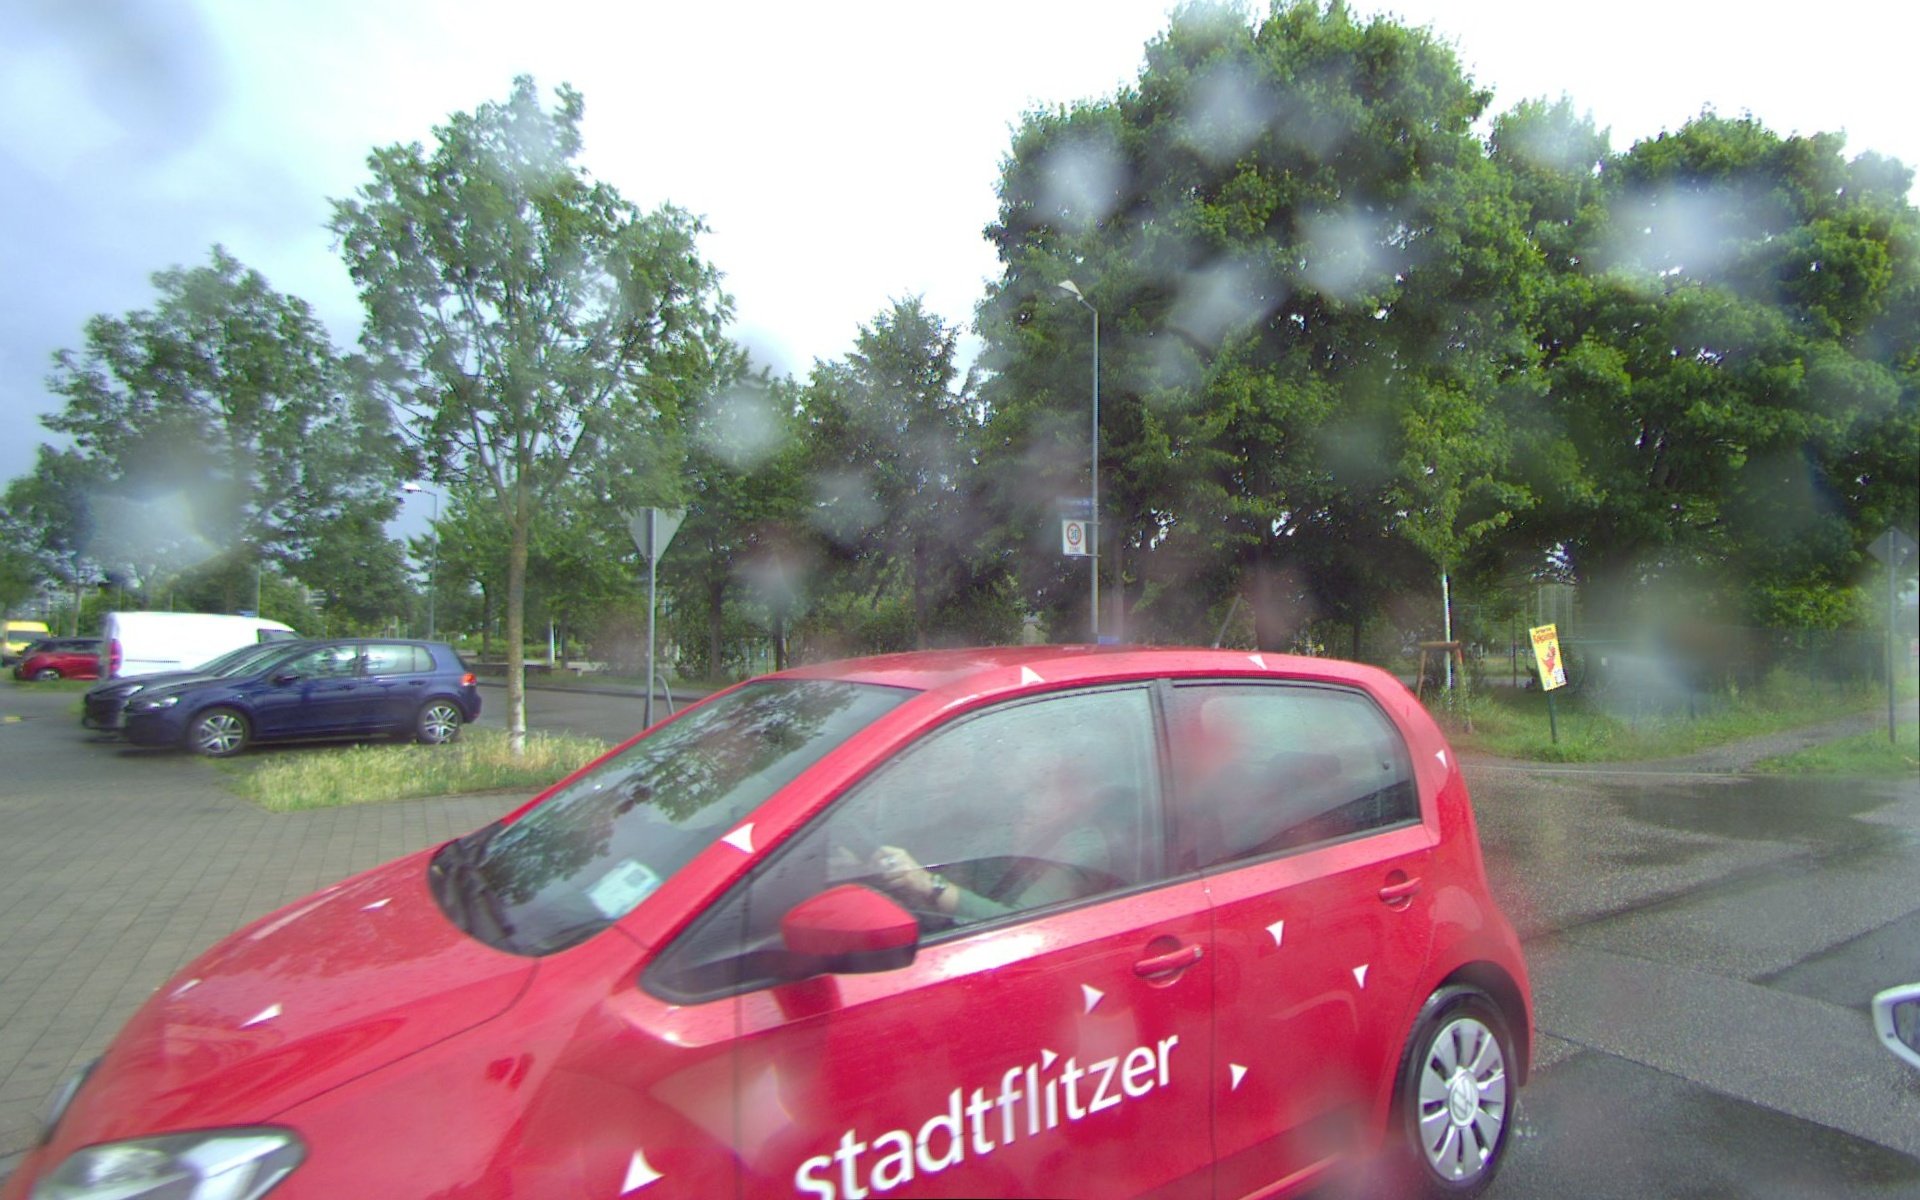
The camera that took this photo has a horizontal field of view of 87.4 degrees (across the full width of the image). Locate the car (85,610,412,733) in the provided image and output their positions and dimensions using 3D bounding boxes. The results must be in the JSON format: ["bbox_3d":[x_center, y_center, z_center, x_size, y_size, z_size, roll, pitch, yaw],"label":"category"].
[{"bbox_3d":[-12.163,1.191,17.429,1.620,1.859,4.328,0,-2,42],"label":"car"}]

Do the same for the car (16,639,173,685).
[{"bbox_3d":[-31.509,2.239,36.663,1.620,1.555,4.163,-3,-4,41],"label":"car"}]

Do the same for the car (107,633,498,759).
[{"bbox_3d":[-8.788,1.230,13.727,1.620,1.414,4.167,0,-2,42],"label":"car"}]

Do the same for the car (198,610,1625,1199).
[{"bbox_3d":[0.102,0.829,2.761,3.352,1.487,1.648,2,-3,-32],"label":"car"}]

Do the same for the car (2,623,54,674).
[{"bbox_3d":[-52.987,2.701,57.186,1.953,2.648,6.558,3,-2,-42],"label":"car"}]

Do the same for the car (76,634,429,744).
[{"bbox_3d":[-10.617,1.286,15.326,1.664,1.414,4.108,0,-2,42],"label":"car"}]

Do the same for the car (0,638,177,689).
[{"bbox_3d":[-26.617,1.907,30.558,1.620,1.414,4.164,0,-2,42],"label":"car"}]
